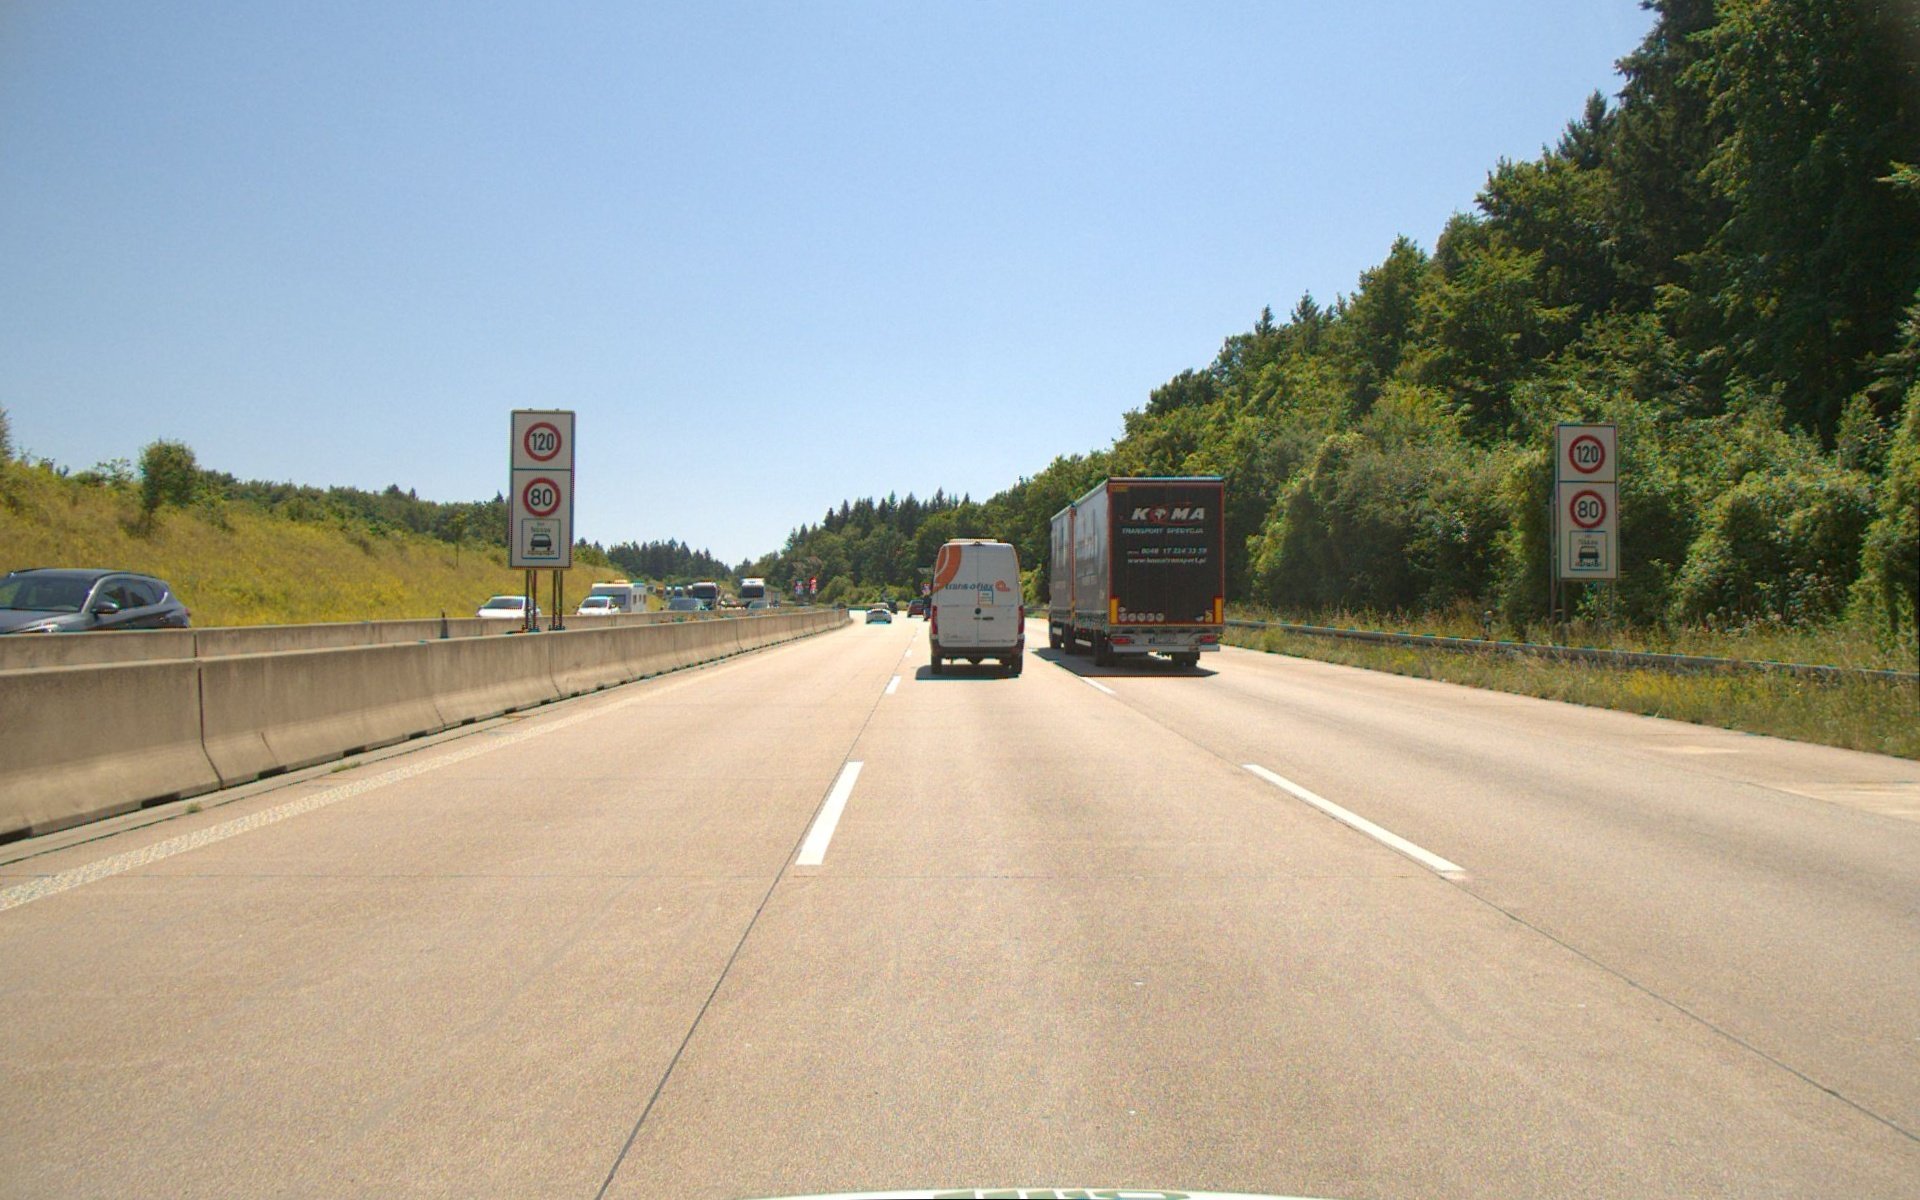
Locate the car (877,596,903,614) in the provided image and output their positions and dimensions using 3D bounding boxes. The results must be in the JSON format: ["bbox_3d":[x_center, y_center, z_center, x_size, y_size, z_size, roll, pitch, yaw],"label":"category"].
[{"bbox_3d":[-6.731,0.474,158.498,1.957,1.713,3.991,1,-1,-9],"label":"car"}]

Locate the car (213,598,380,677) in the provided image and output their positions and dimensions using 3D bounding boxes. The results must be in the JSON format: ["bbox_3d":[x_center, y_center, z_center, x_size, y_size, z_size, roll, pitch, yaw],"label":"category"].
[{"bbox_3d":[-13.926,0.749,34.976,1.953,1.545,3.999,1,0,-1],"label":"car"}]

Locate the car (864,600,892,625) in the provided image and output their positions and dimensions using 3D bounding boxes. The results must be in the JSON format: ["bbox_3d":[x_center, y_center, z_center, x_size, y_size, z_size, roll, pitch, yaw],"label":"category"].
[{"bbox_3d":[-5.922,0.911,119.395,1.953,1.713,3.998,1,-1,-2],"label":"car"}]

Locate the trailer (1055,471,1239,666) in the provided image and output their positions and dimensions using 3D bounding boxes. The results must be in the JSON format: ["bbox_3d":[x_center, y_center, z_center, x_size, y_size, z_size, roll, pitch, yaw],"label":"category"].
[{"bbox_3d":[4.204,-0.657,39.357,3.071,4.087,9.085,-1,0,-2],"label":"trailer"}]

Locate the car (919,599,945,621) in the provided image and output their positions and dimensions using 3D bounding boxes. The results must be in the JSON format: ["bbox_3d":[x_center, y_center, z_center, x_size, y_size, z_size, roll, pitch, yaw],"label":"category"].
[{"bbox_3d":[-2.229,0.818,130.656,1.953,1.713,3.999,1,-1,0],"label":"car"}]

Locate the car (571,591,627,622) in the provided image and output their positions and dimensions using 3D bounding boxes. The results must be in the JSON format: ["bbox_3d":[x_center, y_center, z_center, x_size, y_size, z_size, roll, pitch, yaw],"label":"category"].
[{"bbox_3d":[-20.124,0.350,92.386,1.953,1.689,5.373,1,0,-1],"label":"car"}]

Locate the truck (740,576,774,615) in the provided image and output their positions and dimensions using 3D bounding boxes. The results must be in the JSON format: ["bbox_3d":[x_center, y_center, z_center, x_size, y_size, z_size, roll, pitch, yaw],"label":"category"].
[{"bbox_3d":[-21.572,-0.412,176.241,3.098,4.001,5.832,1,-1,-3],"label":"truck"}]

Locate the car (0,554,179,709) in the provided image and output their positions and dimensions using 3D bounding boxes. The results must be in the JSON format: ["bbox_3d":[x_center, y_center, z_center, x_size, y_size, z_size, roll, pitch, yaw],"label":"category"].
[{"bbox_3d":[-11.654,0.332,20.422,1.953,1.722,4.370,1,0,-1],"label":"car"}]

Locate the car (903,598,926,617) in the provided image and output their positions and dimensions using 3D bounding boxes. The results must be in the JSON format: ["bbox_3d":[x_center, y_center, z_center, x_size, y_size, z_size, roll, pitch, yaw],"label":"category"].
[{"bbox_3d":[-4.462,0.759,162.483,1.952,1.713,4.000,1,-1,1],"label":"car"}]

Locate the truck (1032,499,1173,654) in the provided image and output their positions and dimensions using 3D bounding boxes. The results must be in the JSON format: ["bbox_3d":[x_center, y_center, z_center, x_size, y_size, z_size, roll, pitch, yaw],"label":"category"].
[{"bbox_3d":[4.026,-0.620,49.213,3.095,4.087,10.605,-1,0,-1],"label":"truck"}]

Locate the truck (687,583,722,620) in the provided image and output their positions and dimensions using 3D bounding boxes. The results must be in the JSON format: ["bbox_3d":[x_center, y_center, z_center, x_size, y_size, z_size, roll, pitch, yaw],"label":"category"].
[{"bbox_3d":[-24.772,0.198,160.561,2.670,3.473,4.511,1,-1,-1],"label":"truck"}]

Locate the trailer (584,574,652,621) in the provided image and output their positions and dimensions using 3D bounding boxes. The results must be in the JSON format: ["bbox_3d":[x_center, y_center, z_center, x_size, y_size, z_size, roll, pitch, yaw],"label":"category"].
[{"bbox_3d":[-20.391,-0.135,99.011,2.553,2.677,7.779,1,0,-1],"label":"trailer"}]

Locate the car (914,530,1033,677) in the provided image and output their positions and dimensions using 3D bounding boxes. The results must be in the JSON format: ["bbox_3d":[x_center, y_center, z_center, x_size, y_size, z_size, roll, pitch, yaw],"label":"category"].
[{"bbox_3d":[0.196,0.047,35.621,2.182,2.894,5.450,-1,0,-4],"label":"car"}]

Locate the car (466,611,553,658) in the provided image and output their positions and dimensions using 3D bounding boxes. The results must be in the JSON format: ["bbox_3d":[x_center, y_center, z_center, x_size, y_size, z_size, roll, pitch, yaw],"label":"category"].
[{"bbox_3d":[-16.205,1.206,59.679,1.953,1.586,4.498,1,0,-1],"label":"car"}]
